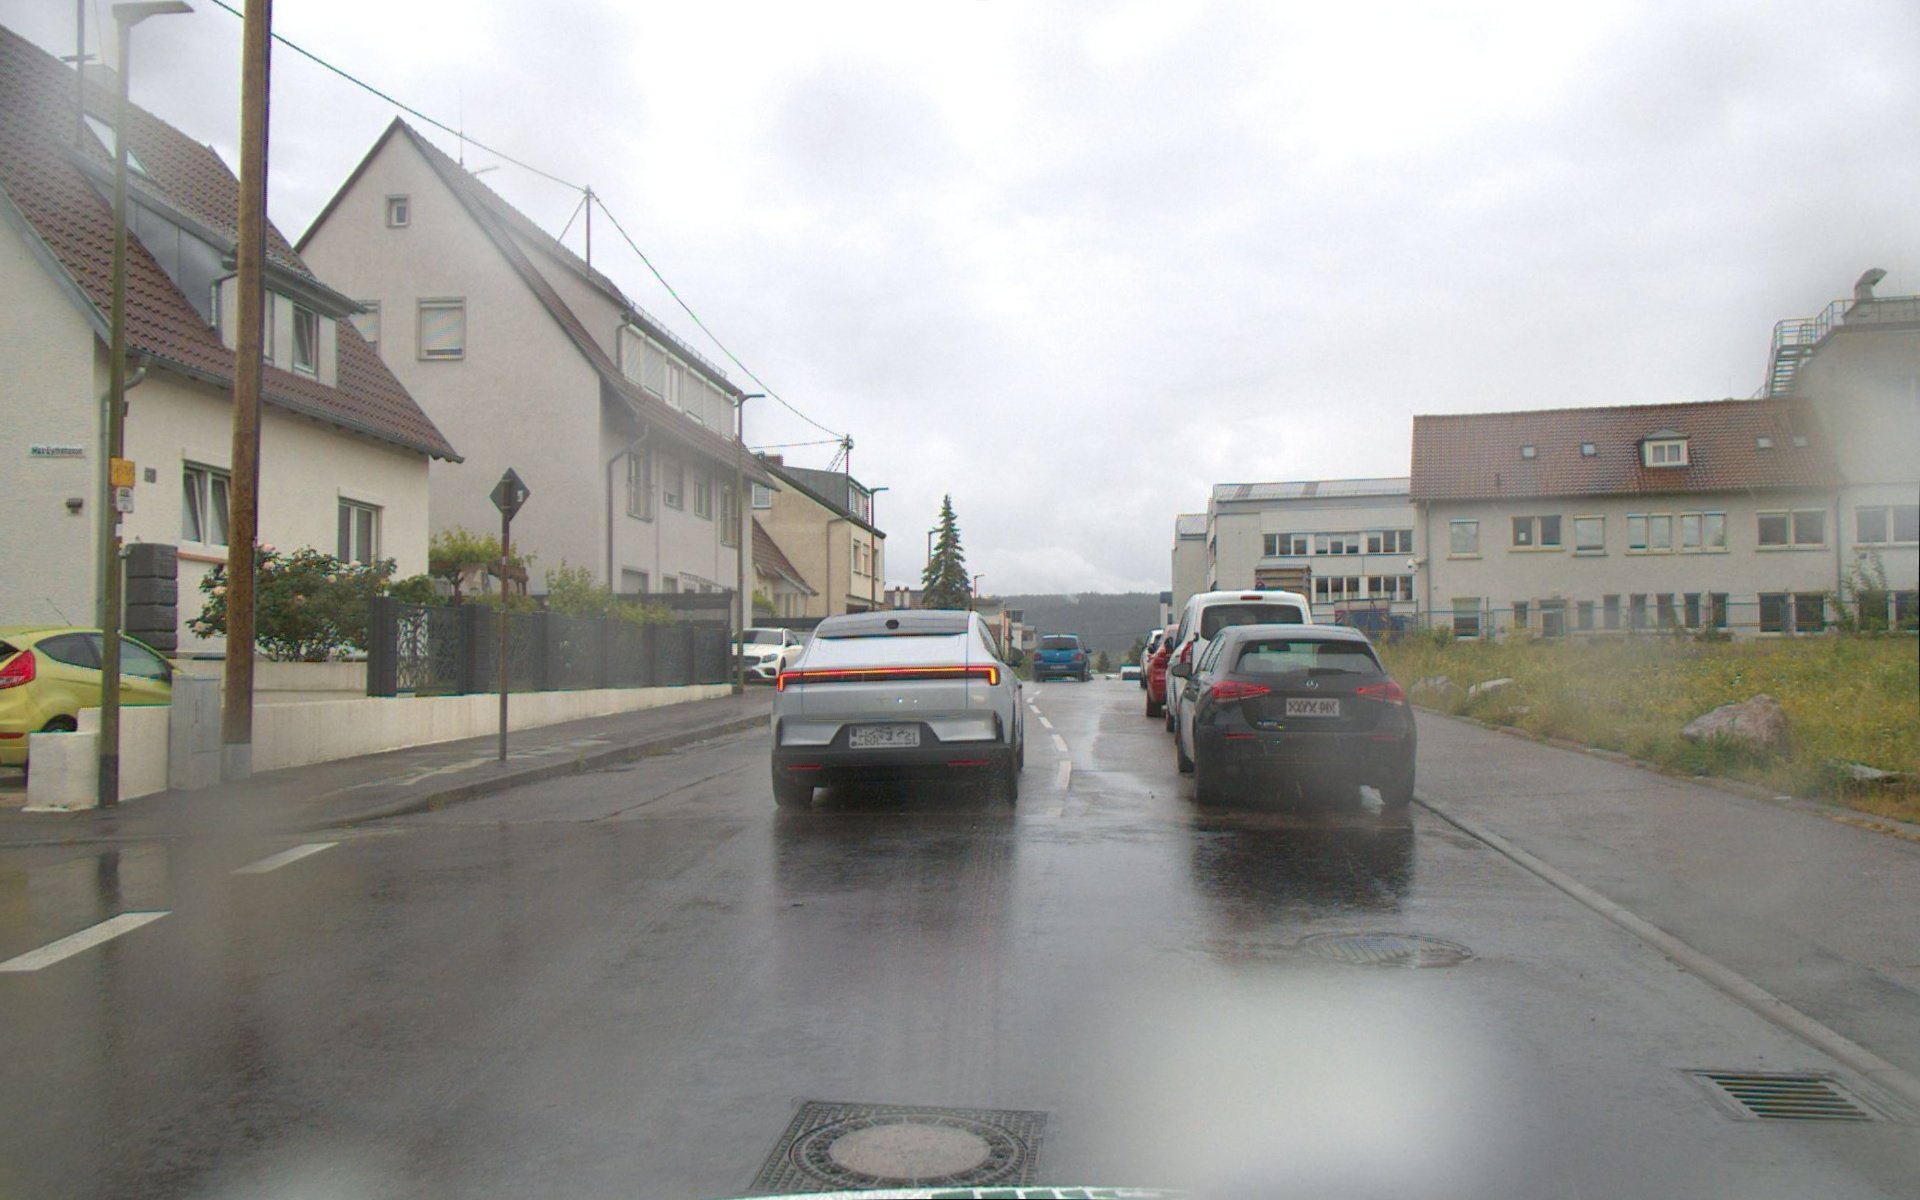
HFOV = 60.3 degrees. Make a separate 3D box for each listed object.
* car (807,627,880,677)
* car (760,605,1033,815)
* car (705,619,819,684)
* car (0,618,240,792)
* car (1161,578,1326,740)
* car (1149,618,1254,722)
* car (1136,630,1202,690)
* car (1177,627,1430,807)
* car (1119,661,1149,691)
[{"bbox_3d":[-3.593,1.608,51.664,1.789,1.392,4.570,3,-1,1],"label":"car"},{"bbox_3d":[-0.363,0.848,14.422,1.952,1.528,4.671,0,-1,3],"label":"car"},{"bbox_3d":[-5.180,1.361,44.030,1.951,1.537,4.898,3,-1,5],"label":"car"},{"bbox_3d":[-8.744,0.964,16.012,1.741,1.493,3.459,0,-2,6],"label":"car"},{"bbox_3d":[3.571,0.725,21.507,1.731,1.857,4.576,1,-1,5],"label":"car"},{"bbox_3d":[4.048,1.131,28.084,1.607,1.602,4.646,0,-1,7],"label":"car"},{"bbox_3d":[5.744,1.632,45.691,1.646,1.585,3.676,0,-2,5],"label":"car"},{"bbox_3d":[2.929,0.940,14.899,1.731,1.359,4.323,1,-1,5],"label":"car"},{"bbox_3d":[13.277,5.831,126.386,1.952,2.049,4.000,-1,-5,2],"label":"car"}]
